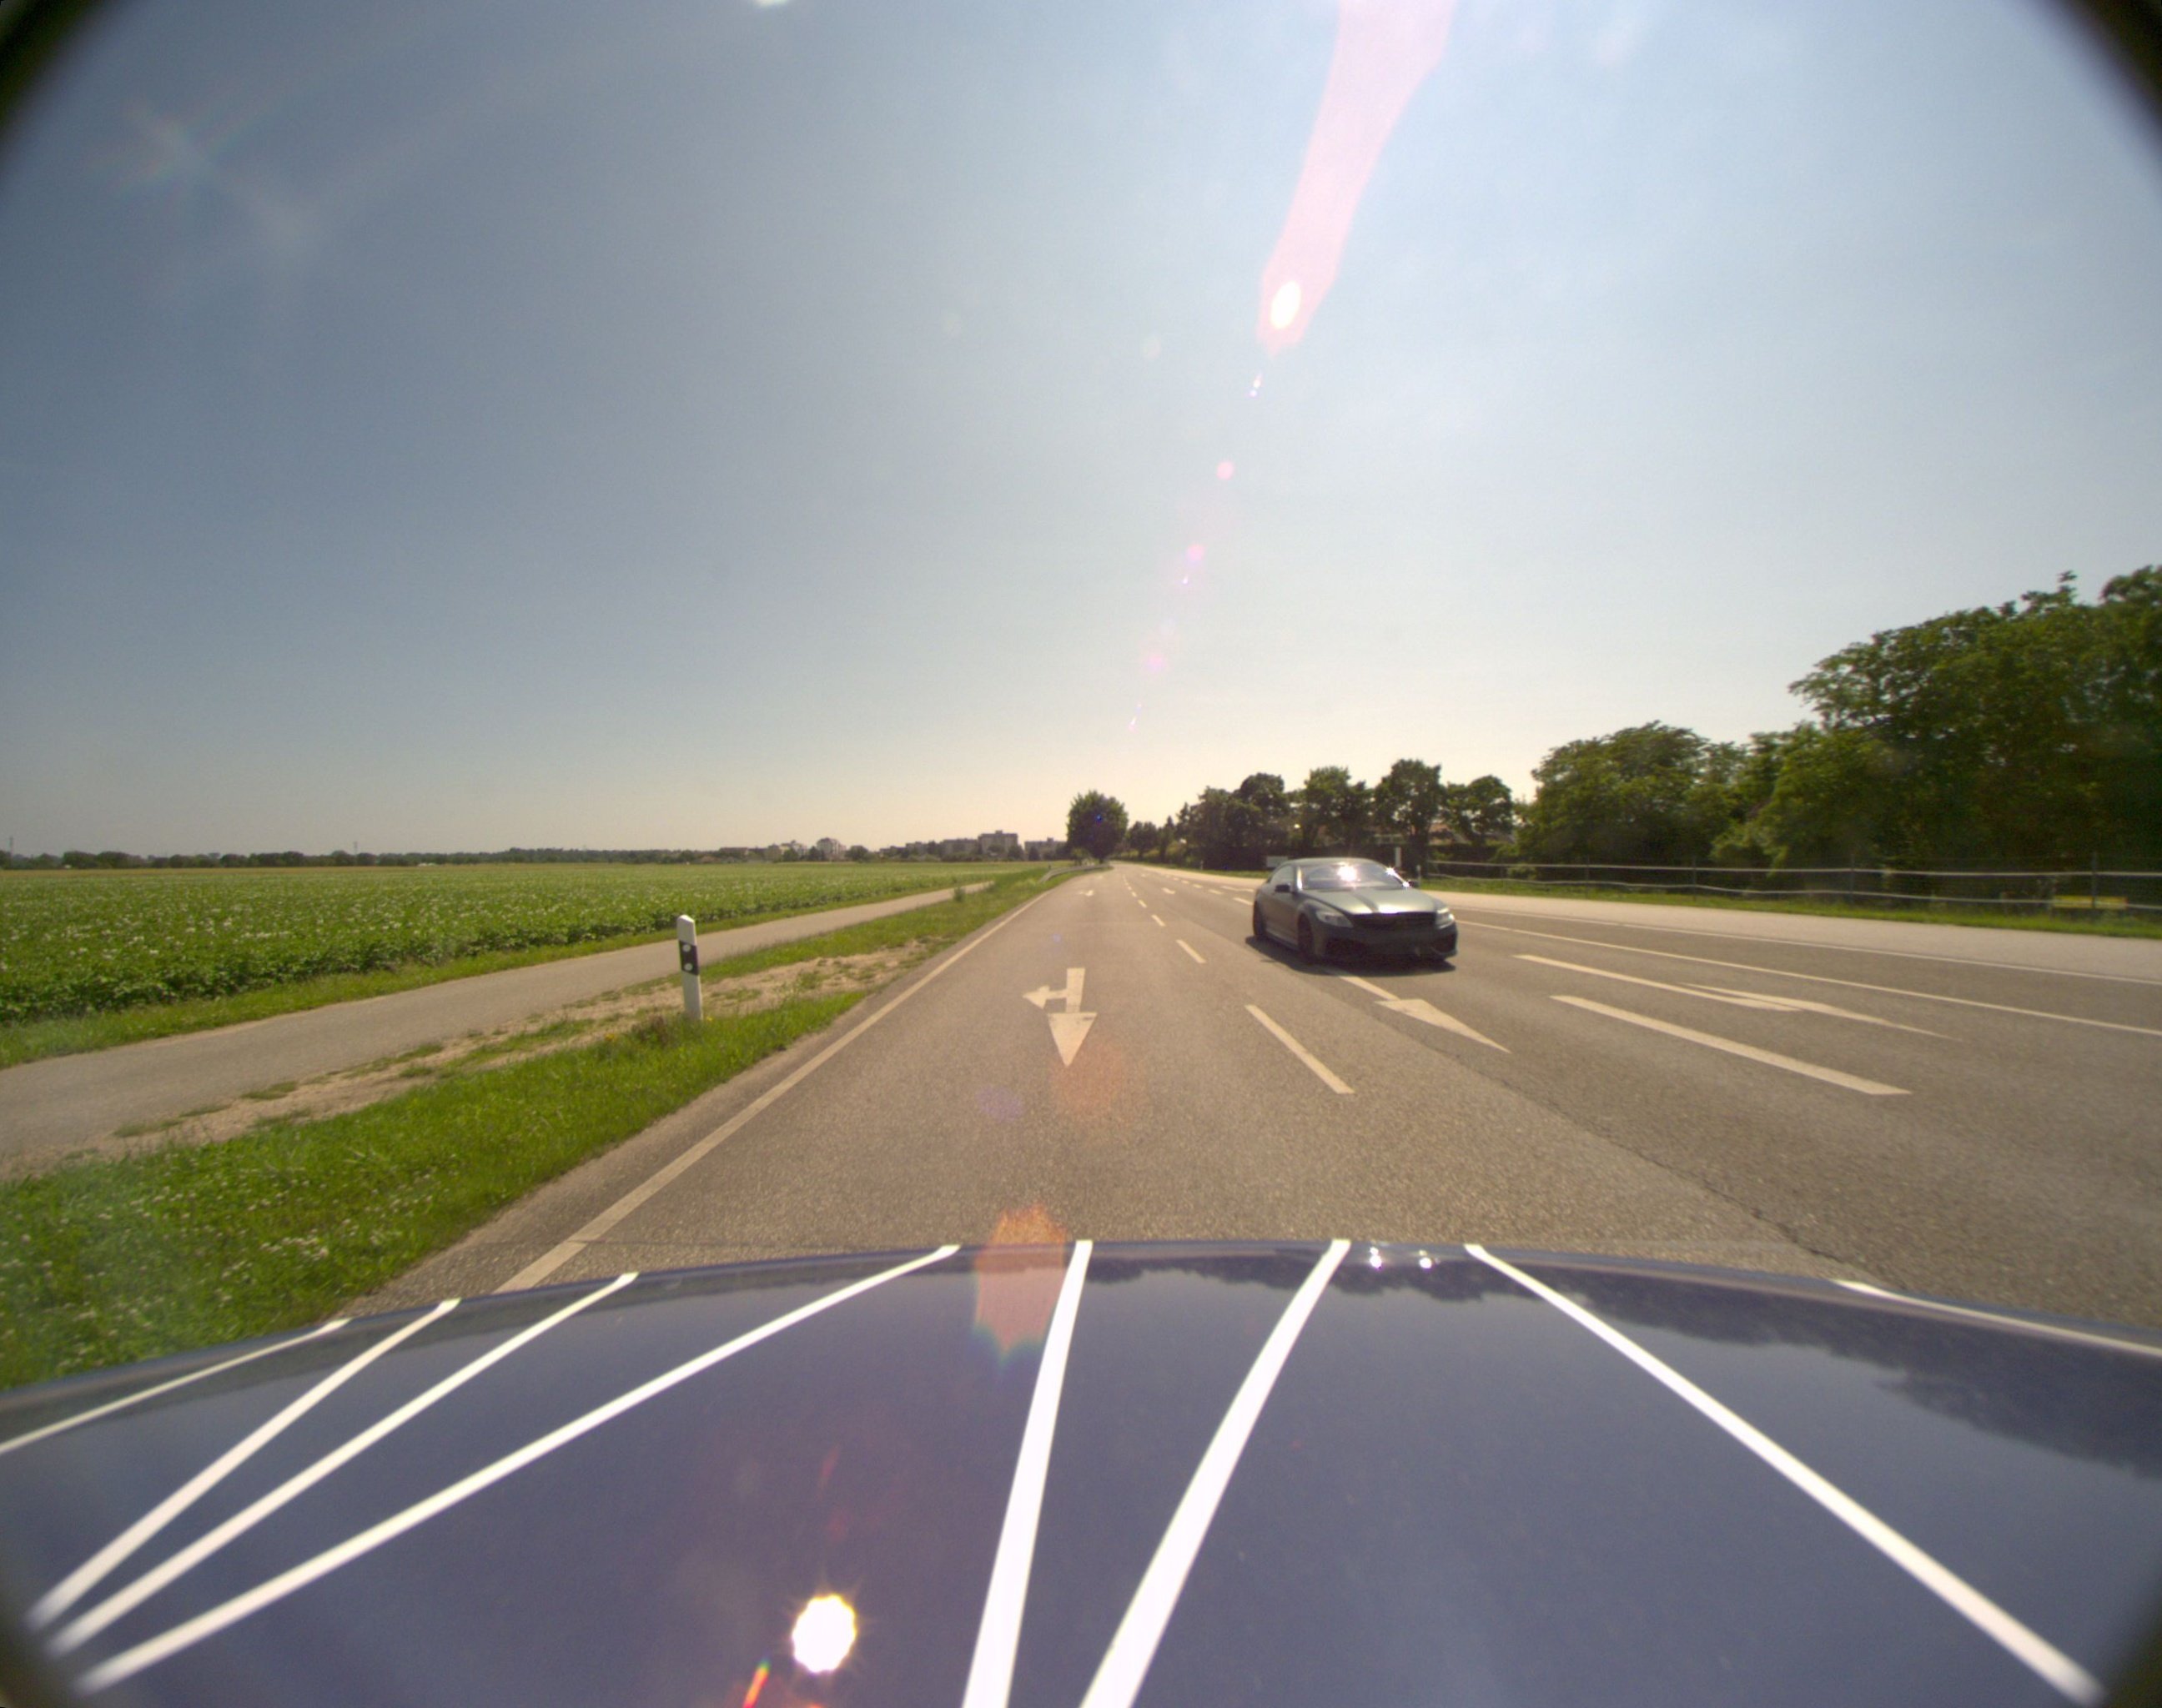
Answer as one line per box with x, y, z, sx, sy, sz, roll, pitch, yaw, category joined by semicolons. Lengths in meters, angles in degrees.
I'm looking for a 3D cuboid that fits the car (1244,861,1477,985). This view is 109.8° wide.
3.912;0.860;11.667;1.815;1.441;4.877;-1;0;1;car
